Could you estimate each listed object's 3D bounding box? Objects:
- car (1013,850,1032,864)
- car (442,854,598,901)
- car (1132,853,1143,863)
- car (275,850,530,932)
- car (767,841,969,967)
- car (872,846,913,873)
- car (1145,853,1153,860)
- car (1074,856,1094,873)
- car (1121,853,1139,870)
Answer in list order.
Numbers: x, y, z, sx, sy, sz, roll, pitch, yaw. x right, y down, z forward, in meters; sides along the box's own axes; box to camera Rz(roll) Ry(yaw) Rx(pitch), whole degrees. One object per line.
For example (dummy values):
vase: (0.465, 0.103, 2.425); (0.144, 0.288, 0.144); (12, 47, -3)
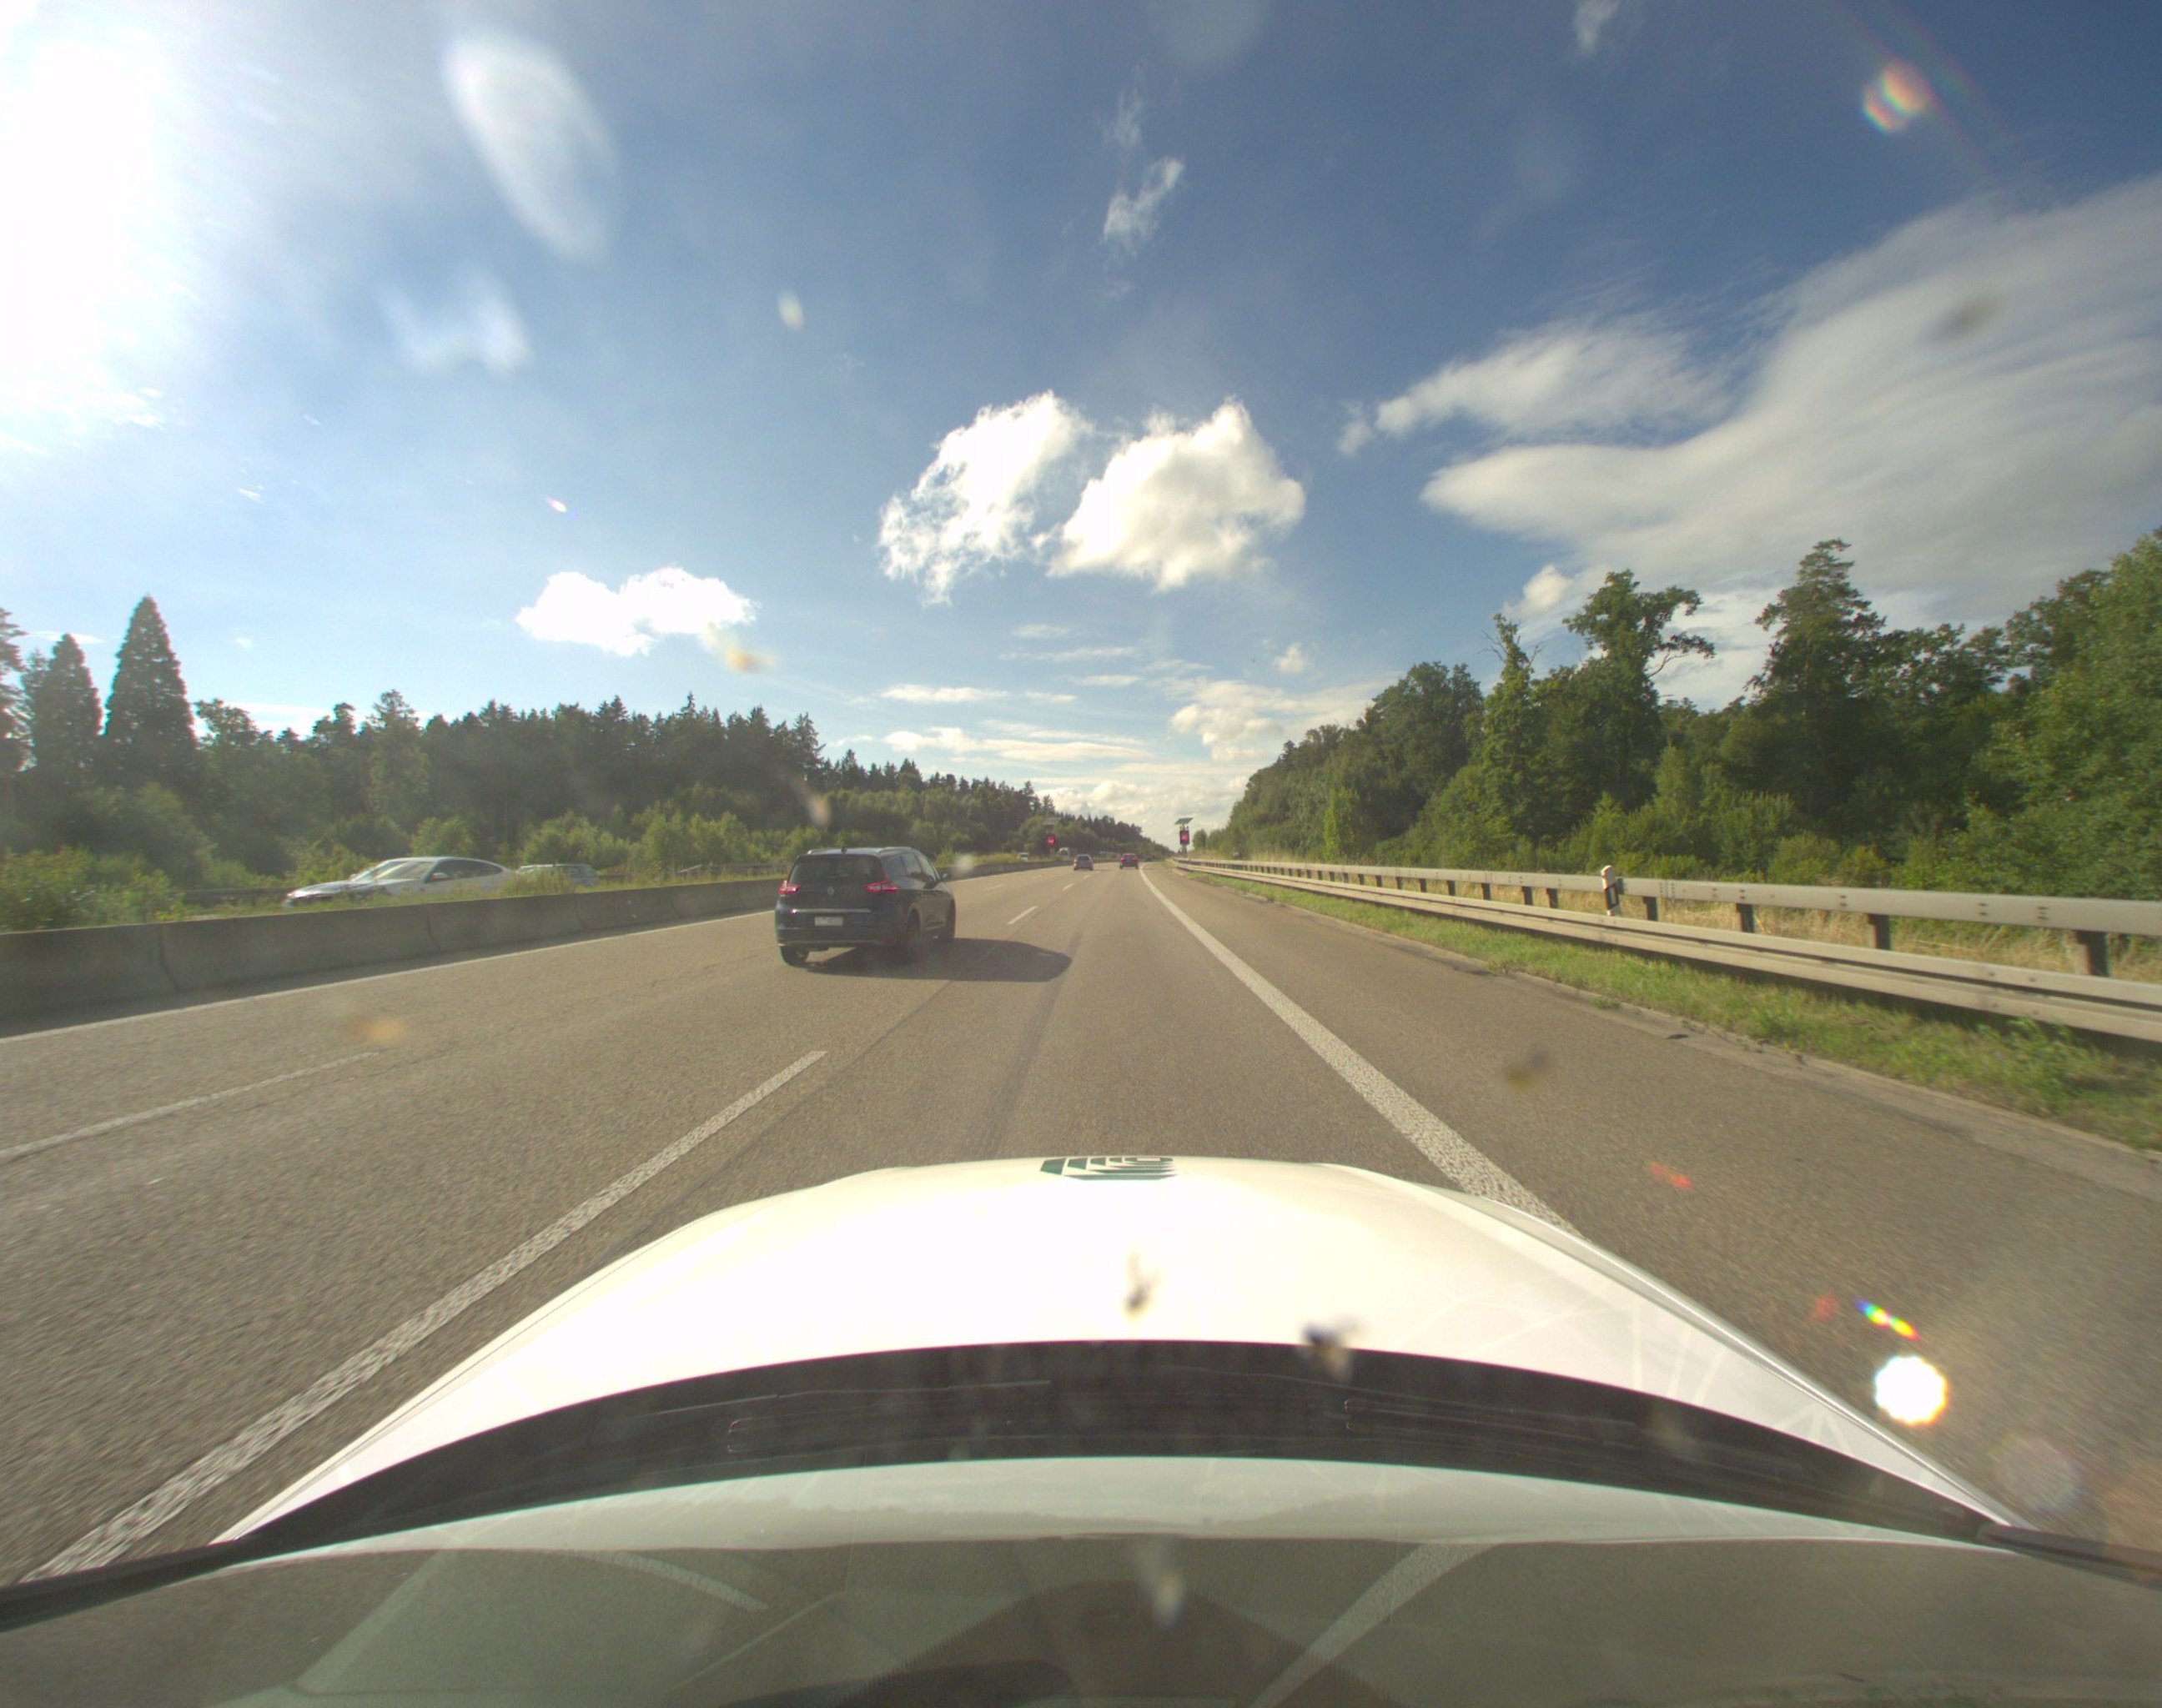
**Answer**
car: (-10.267, 0.440, 143.057); (2.300, 2.318, 6.198); (3, 0, 4)
car: (-18.624, 0.732, 27.340); (1.986, 1.403, 4.466); (-1, 0, 2)
car: (12.280, 0.863, 177.037); (1.987, 2.013, 4.000); (0, 0, 0)
car: (-15.036, 0.730, 18.461); (1.918, 1.609, 4.466); (-1, 0, 2)
car: (-3.208, 0.675, 13.328); (1.986, 1.707, 4.530); (-1, 0, 1)
car: (-15.964, 0.441, 69.285); (2.056, 2.244, 5.208); (-1, 0, 3)
car: (17.297, 0.622, 207.470); (1.804, 1.706, 4.005); (-1, 0, 4)
car: (0.270, 0.998, 79.962); (1.868, 1.497, 3.879); (-1, 1, 0)
car: (5.140, 0.749, 86.276); (1.866, 1.675, 3.892); (-1, 1, 2)
